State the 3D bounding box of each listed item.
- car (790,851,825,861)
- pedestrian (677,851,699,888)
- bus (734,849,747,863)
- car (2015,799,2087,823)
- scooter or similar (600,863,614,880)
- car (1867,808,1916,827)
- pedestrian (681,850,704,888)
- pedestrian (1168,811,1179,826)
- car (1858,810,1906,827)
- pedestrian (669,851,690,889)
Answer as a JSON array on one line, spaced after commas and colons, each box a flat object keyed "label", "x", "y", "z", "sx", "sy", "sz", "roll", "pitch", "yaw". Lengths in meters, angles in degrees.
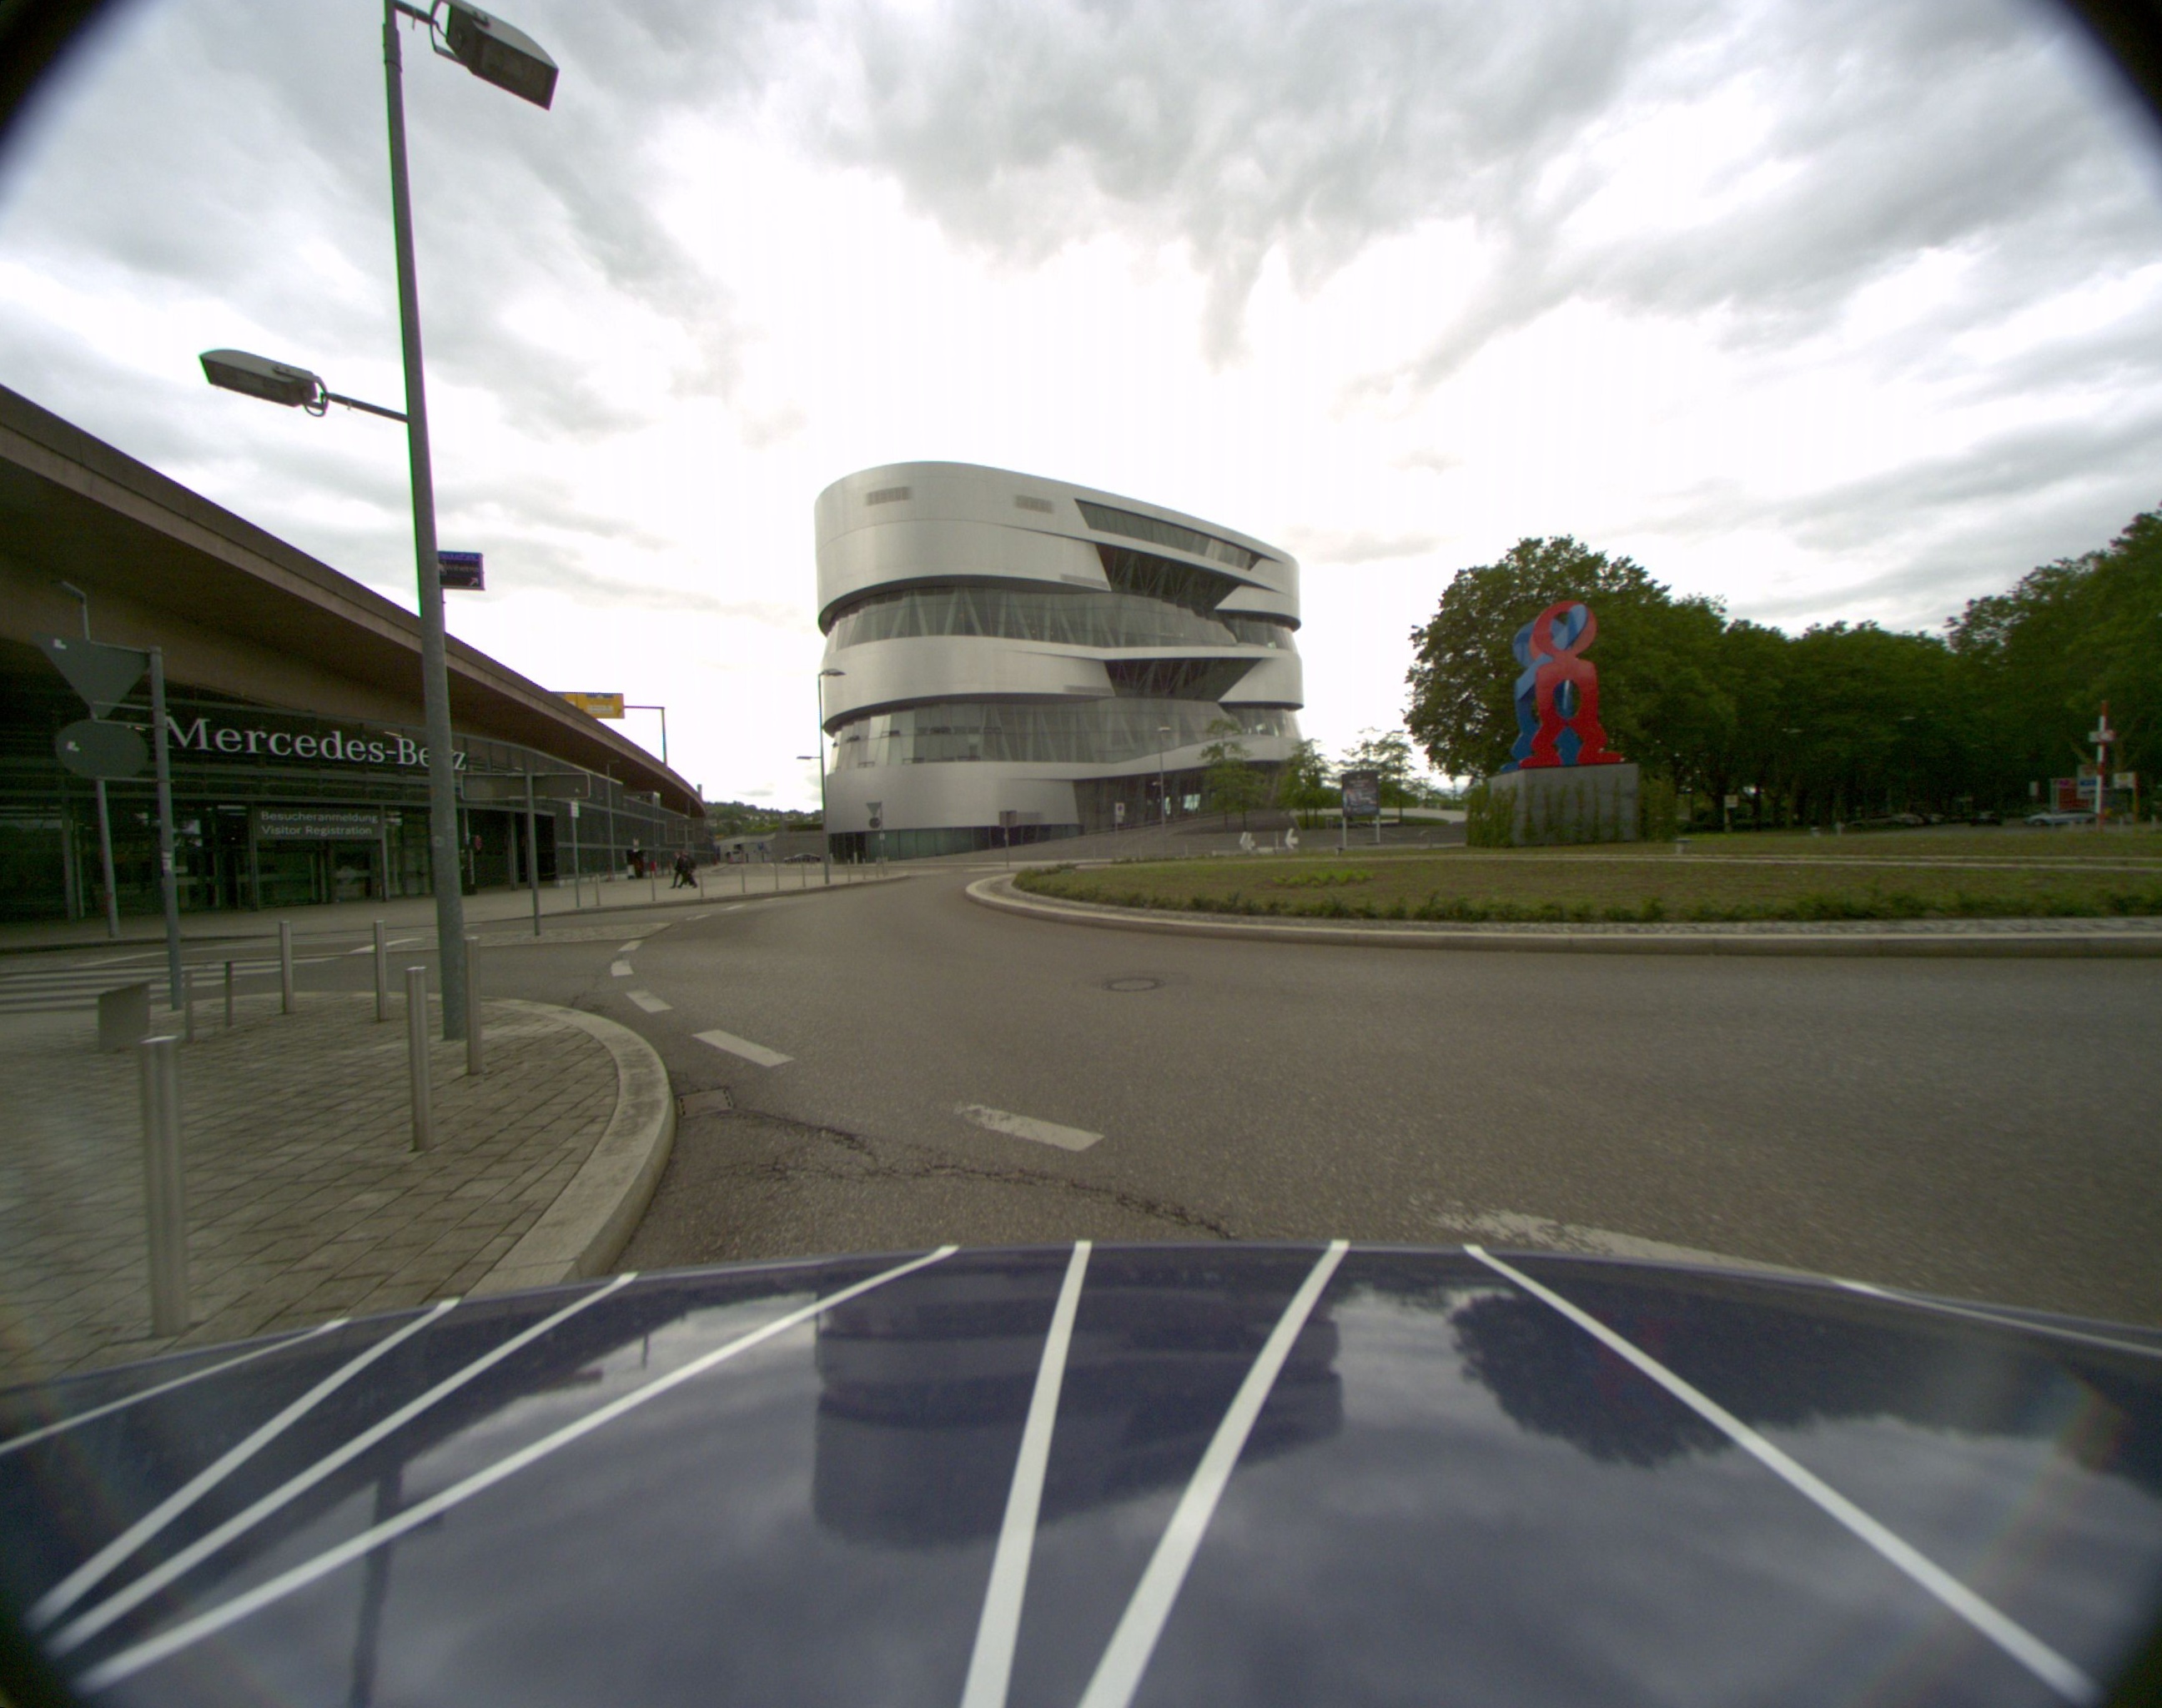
[{"label": "car", "x": -41.536, "y": 0.272, "z": 115.212, "sx": 4.912, "sy": 1.390, "sz": 1.532, "roll": -2, "pitch": 0, "yaw": -21}, {"label": "pedestrian", "x": -18.506, "y": 0.746, "z": 35.782, "sx": 0.774, "sy": 1.695, "sz": 0.785, "roll": -2, "pitch": 0, "yaw": -34}, {"label": "bus", "x": -89.852, "y": 0.624, "z": 200.318, "sx": 2.935, "sy": 3.421, "sz": 6.954, "roll": -2, "pitch": 0, "yaw": -25}, {"label": "car", "x": 84.302, "y": -3.685, "z": 66.085, "sx": 1.673, "sy": 1.767, "sz": 3.703, "roll": -2, "pitch": 0, "yaw": -34}, {"label": "scooter or similar", "x": -31.162, "y": 1.133, "z": 49.950, "sx": 0.381, "sy": 1.116, "sz": 1.426, "roll": -2, "pitch": 0, "yaw": -18}, {"label": "car", "x": 91.487, "y": -4.109, "z": 85.831, "sx": 1.690, "sy": 1.838, "sz": 3.442, "roll": -3, "pitch": 1, "yaw": -27}, {"label": "pedestrian", "x": -17.958, "y": 0.706, "z": 35.114, "sx": 0.774, "sy": 1.695, "sz": 0.863, "roll": -2, "pitch": 0, "yaw": -33}, {"label": "pedestrian", "x": 12.447, "y": -4.751, "z": 102.578, "sx": 0.953, "sy": 1.914, "sz": 0.851, "roll": -7, "pitch": 3, "yaw": -31}, {"label": "car", "x": 87.627, "y": -3.909, "z": 83.181, "sx": 1.691, "sy": 1.675, "sz": 3.441, "roll": -4, "pitch": 2, "yaw": -38}, {"label": "pedestrian", "x": -19.222, "y": 0.751, "z": 36.384, "sx": 0.784, "sy": 1.788, "sz": 0.863, "roll": -2, "pitch": 0, "yaw": -30}]
